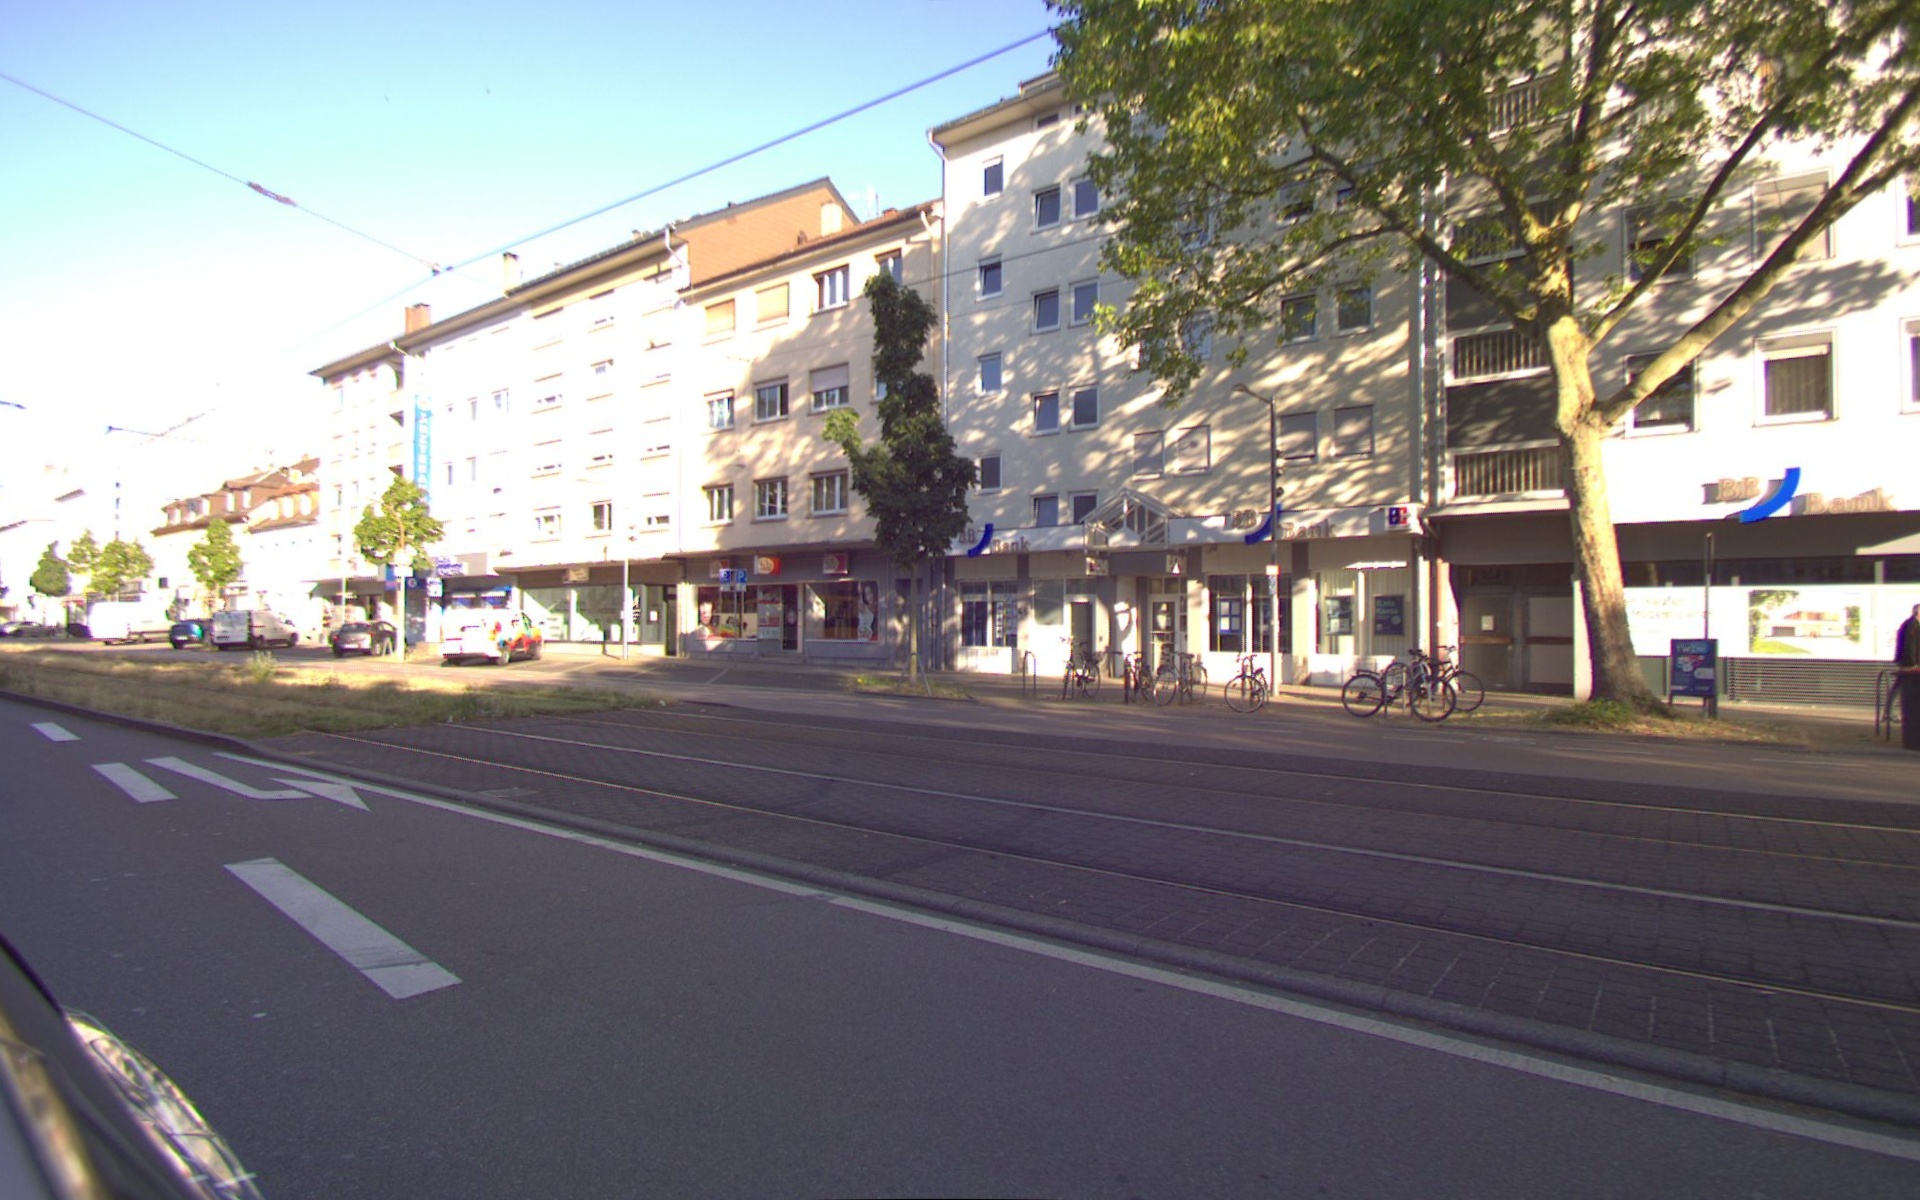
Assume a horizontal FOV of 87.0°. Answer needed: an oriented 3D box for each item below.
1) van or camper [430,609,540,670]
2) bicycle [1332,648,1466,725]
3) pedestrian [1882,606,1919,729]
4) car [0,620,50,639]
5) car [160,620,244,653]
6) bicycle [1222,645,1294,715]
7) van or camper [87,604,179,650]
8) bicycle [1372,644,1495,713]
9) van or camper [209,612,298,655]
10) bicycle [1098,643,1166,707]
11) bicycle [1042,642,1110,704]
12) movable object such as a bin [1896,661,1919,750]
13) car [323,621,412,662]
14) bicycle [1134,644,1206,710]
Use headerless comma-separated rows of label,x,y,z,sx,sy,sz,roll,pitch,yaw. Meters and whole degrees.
van or camper,-16.462,1.305,35.374,1.922,1.912,4.820,-1,0,-5
bicycle,7.091,1.368,16.406,1.909,1.133,0.503,-1,-1,40
pedestrian,14.466,0.995,15.133,0.970,1.801,0.612,-1,0,43
car,-79.529,2.488,85.277,1.753,1.501,3.897,-1,0,15
car,-41.297,1.975,55.224,1.850,1.598,4.005,-1,0,-6
bicycle,5.380,1.407,18.198,0.651,1.133,1.877,-1,-1,35
van or camper,-52.133,1.615,63.995,1.966,2.687,6.416,-1,0,-14
bicycle,8.426,1.373,18.056,1.909,1.133,0.503,-1,-1,40
van or camper,-35.680,1.639,51.229,1.772,2.004,4.458,-1,0,-7
bicycle,3.372,1.434,19.711,0.533,1.133,1.877,-1,-1,35
bicycle,2.369,1.446,20.460,0.533,1.133,1.877,-1,-1,35
movable object such as a bin,12.358,1.331,12.716,0.536,1.102,0.649,0,-2,-12
car,-24.968,1.718,42.846,1.741,1.501,4.460,-1,0,-9
bicycle,4.010,1.428,19.226,0.651,1.133,1.877,-1,-1,35
